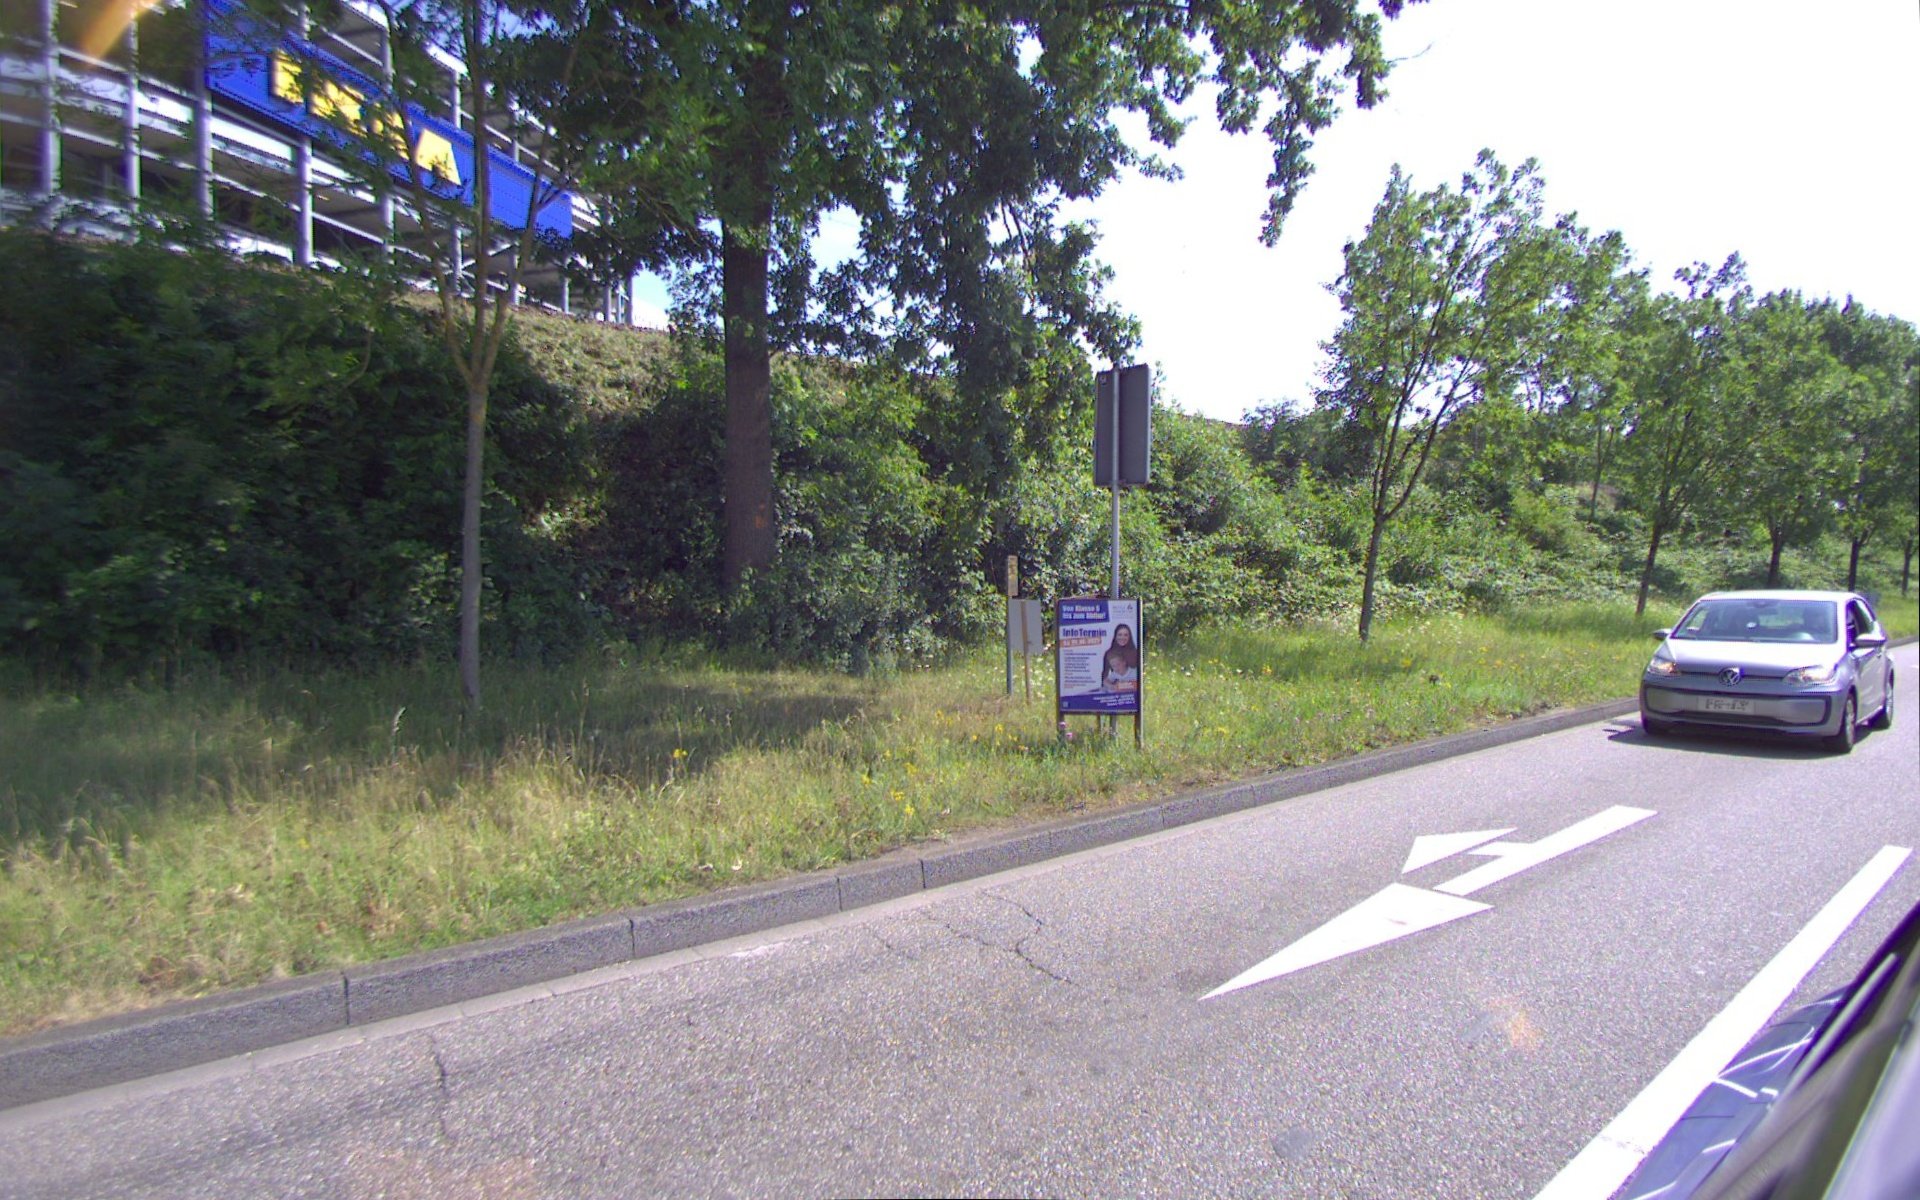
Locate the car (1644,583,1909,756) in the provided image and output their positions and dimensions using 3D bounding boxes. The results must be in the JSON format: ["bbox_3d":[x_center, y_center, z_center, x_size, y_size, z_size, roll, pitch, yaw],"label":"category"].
[{"bbox_3d":[8.522,0.562,10.458,3.618,1.455,1.702,-1,1,-44],"label":"car"}]
